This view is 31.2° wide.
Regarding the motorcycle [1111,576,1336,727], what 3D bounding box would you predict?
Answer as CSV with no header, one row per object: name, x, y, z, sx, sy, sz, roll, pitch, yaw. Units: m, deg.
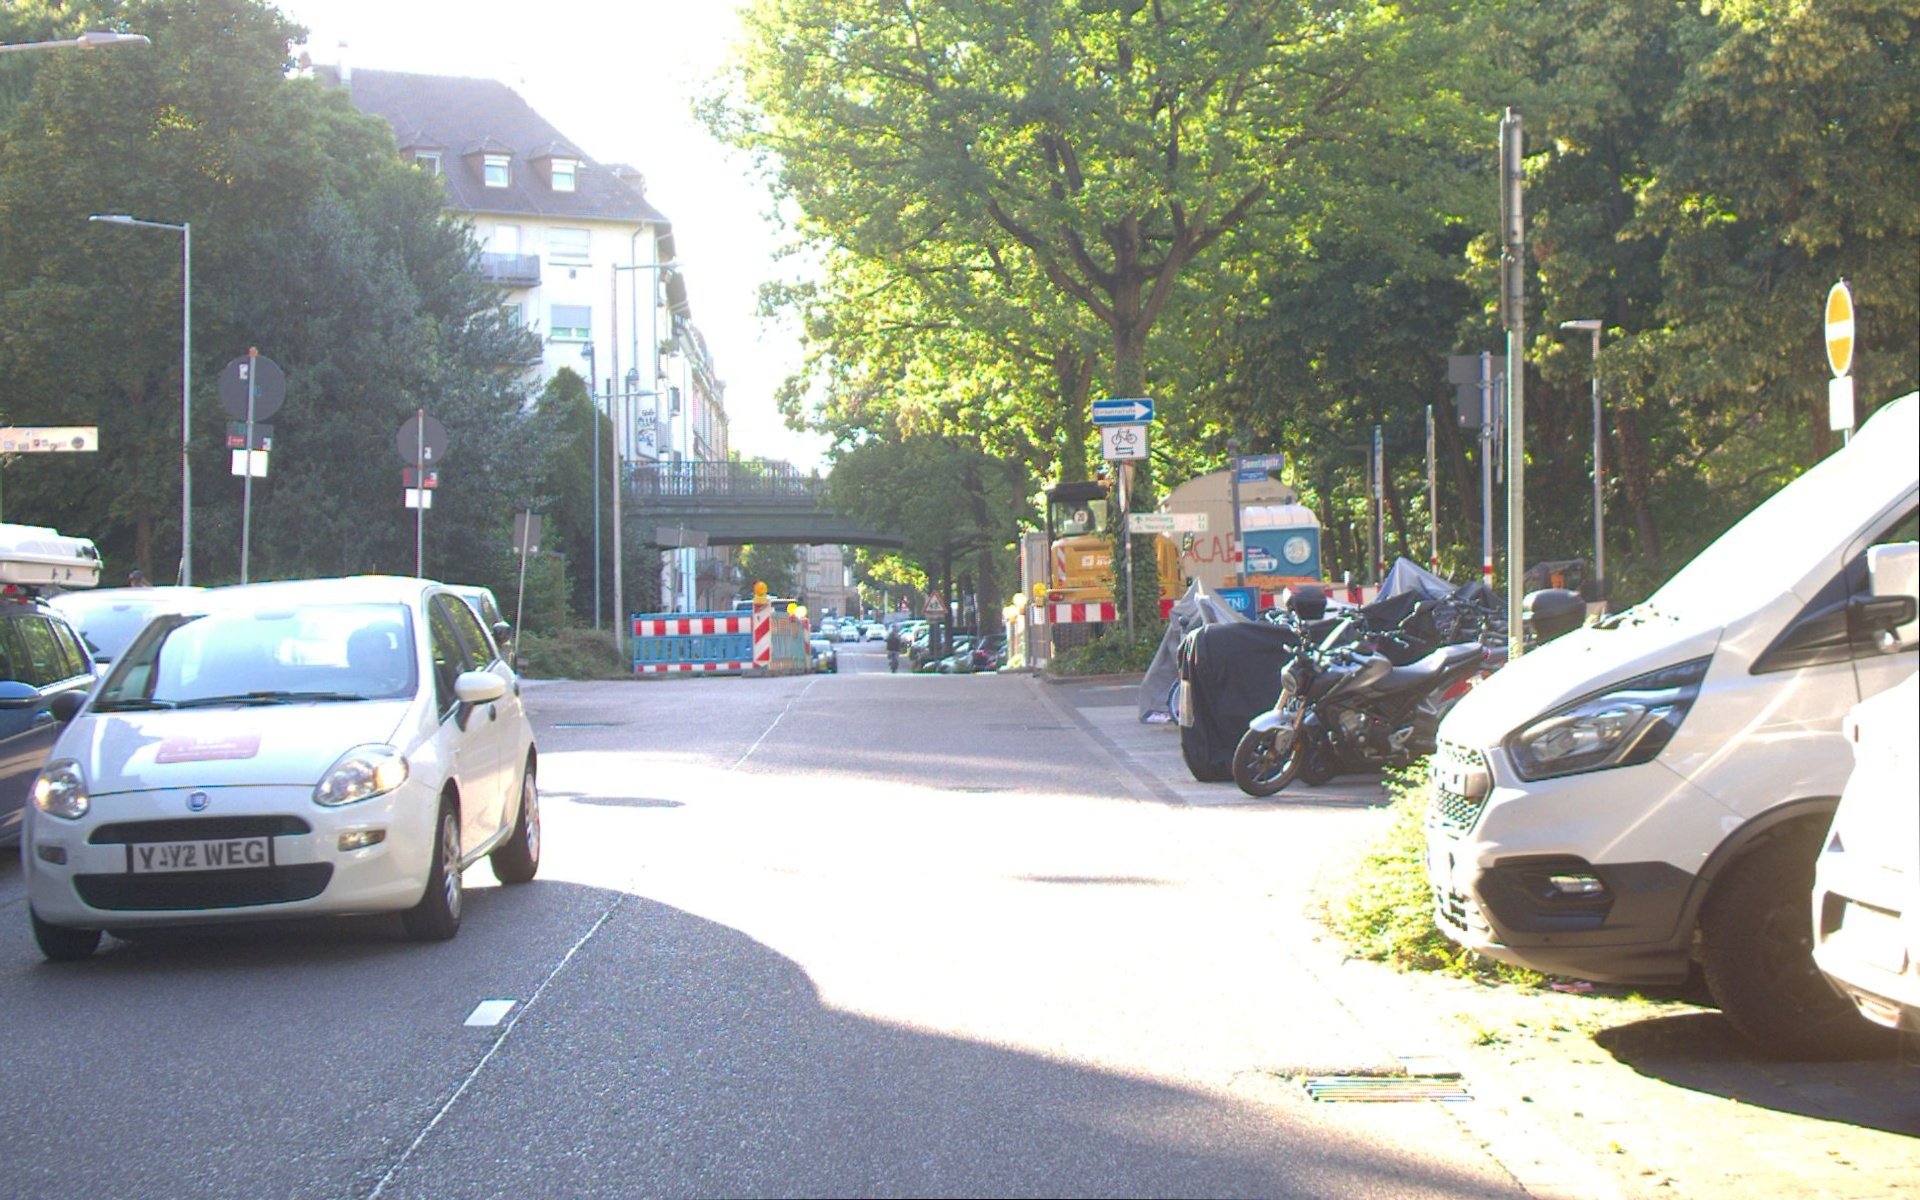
motorcycle,2.526,0.481,33.010,1.935,1.408,0.939,0,0,27

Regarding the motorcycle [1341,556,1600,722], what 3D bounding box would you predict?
motorcycle,4.804,0.358,32.392,2.282,1.526,0.756,0,0,-6

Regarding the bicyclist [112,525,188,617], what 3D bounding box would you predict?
bicyclist,-12.286,-0.436,52.151,0.803,1.379,0.985,0,0,-36

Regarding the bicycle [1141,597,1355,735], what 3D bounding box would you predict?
bicycle,2.637,0.598,31.514,1.924,1.242,0.303,0,0,-6

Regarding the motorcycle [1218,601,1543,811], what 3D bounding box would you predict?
motorcycle,2.736,0.679,22.454,2.014,1.323,0.621,-1,0,-4

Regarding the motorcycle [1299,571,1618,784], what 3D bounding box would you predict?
motorcycle,3.372,0.515,23.384,2.023,1.357,0.694,-2,0,0

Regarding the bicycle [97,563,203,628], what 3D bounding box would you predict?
bicycle,-12.305,-0.077,52.162,0.803,0.965,2.108,0,0,-36

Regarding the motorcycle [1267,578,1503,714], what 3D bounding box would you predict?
motorcycle,4.244,0.457,34.293,2.284,1.337,0.656,0,0,11

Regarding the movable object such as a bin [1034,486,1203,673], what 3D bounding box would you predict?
movable object such as a bin,2.390,-0.293,51.237,1.994,2.690,3.108,0,0,13

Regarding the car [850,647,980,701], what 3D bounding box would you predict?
car,-1.579,2.562,119.074,4.387,1.779,1.917,1,-3,-3

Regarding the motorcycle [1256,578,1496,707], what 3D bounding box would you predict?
motorcycle,4.421,0.447,36.609,2.364,1.337,0.941,0,0,-10

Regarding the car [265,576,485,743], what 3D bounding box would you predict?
car,-5.650,0.542,33.582,1.669,1.525,4.000,0,0,-3

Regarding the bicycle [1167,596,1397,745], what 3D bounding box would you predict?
bicycle,2.734,0.590,29.209,1.924,1.242,0.303,0,0,-6

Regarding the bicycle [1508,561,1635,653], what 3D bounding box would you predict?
bicycle,8.853,0.087,49.868,1.023,1.281,2.147,-2,1,-13

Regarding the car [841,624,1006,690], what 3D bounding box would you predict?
car,-1.017,1.572,93.846,4.387,1.696,1.917,1,-3,-3

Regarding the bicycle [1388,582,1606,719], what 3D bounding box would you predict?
bicycle,4.953,0.462,31.726,1.924,1.242,0.452,0,0,-6

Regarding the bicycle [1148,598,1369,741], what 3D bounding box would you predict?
bicycle,2.641,0.611,30.478,1.924,1.242,0.303,0,0,-6

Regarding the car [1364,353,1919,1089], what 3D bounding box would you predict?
car,3.914,0.311,10.913,4.973,2.089,2.106,-1,0,0

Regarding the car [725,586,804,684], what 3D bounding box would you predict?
car,-5.304,0.991,93.545,2.047,2.489,5.697,1,-2,-3

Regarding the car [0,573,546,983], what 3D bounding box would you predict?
car,-2.882,0.651,14.837,1.749,1.504,4.000,-1,0,-1

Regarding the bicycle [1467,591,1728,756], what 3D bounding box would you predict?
bicycle,4.935,0.561,26.649,1.924,1.242,0.479,0,0,-6

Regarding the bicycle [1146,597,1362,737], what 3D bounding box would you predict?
bicycle,2.670,0.601,31.194,1.924,1.242,0.303,0,0,-6

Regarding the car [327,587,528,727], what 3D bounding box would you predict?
car,-5.830,0.593,38.034,1.669,1.453,4.000,0,0,-1

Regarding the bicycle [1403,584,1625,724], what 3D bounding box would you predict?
bicycle,5.027,0.485,31.216,1.924,1.242,0.479,0,0,-6

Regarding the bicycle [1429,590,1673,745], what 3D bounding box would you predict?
bicycle,4.841,0.545,28.170,1.924,1.242,0.395,0,0,-6

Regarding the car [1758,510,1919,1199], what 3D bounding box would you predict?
car,4.057,0.562,8.264,3.840,1.590,1.741,-1,0,0

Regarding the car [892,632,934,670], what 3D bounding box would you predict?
car,-2.050,2.206,149.836,1.775,1.604,4.402,-1,0,-1

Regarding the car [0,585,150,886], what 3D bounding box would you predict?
car,-5.569,0.656,18.031,1.764,1.432,4.301,-1,1,-2

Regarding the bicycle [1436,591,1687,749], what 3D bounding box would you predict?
bicycle,4.836,0.551,27.661,1.924,1.242,0.479,0,0,-6

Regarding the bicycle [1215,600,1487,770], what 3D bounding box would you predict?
bicycle,2.930,0.627,25.817,1.924,1.242,0.648,0,0,-6

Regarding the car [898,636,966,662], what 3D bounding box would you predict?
car,-1.809,3.158,221.996,4.387,1.604,1.780,1,-3,-1

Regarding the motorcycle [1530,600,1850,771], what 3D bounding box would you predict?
motorcycle,5.138,0.593,24.289,2.023,1.104,0.904,-2,0,-2

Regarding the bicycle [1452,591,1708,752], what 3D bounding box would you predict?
bicycle,4.889,0.556,27.152,1.924,1.242,0.479,0,0,-6

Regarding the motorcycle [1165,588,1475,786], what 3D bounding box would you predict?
motorcycle,2.533,0.602,24.359,2.023,1.280,0.904,-3,0,-2

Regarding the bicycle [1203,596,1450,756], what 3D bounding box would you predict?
bicycle,2.905,0.596,27.268,1.924,1.242,0.303,0,0,-6

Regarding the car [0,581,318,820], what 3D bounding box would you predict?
car,-5.582,0.610,23.249,1.725,1.432,3.996,1,0,0

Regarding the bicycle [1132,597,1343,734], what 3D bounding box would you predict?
bicycle,2.572,0.601,31.882,1.924,1.242,0.303,0,0,-6

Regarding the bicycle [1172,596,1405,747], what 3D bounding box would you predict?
bicycle,2.760,0.593,28.882,1.924,1.242,0.303,0,0,-6

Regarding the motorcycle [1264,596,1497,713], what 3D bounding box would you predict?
motorcycle,4.309,0.552,35.176,2.284,1.176,0.970,0,0,12

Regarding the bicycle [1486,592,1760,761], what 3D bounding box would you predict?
bicycle,5.014,0.567,26.050,1.924,1.242,0.648,0,0,-6
